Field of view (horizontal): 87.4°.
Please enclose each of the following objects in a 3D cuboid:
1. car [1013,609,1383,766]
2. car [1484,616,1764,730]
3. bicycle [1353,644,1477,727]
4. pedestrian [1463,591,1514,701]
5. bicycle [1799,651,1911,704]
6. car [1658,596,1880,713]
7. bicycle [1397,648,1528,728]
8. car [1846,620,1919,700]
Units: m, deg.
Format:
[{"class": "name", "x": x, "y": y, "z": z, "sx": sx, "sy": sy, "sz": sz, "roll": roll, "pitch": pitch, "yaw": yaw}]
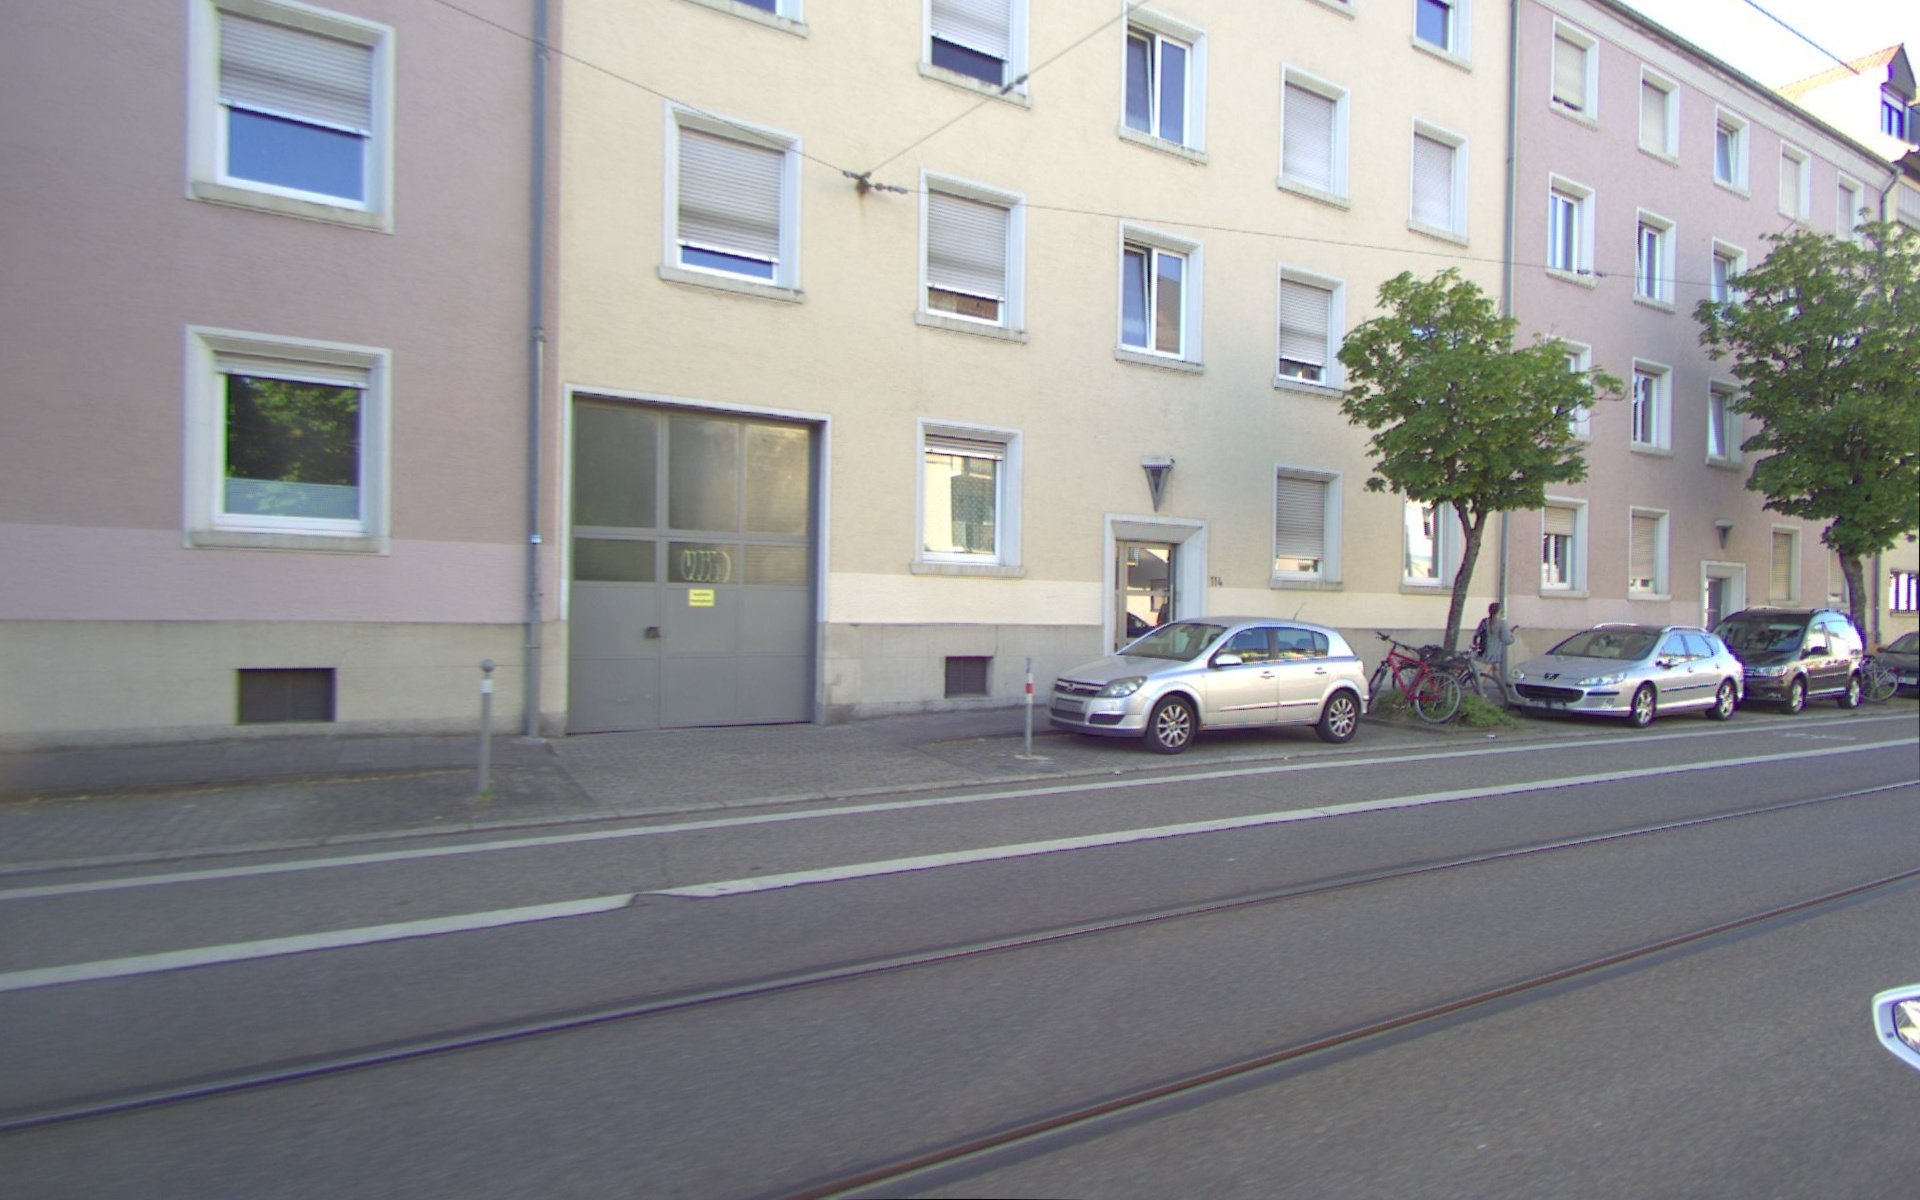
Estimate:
[{"class": "car", "x": 2.857, "y": 0.917, "z": 11.859, "sx": 4.141, "sy": 1.528, "sz": 1.800, "roll": 1, "pitch": 0, "yaw": -30}, {"class": "car", "x": 10.567, "y": 1.067, "z": 15.904, "sx": 4.625, "sy": 1.528, "sz": 1.800, "roll": 1, "pitch": 0, "yaw": -30}, {"class": "bicycle", "x": 6.356, "y": 1.165, "z": 14.107, "sx": 0.470, "sy": 1.015, "sz": 1.661, "roll": 1, "pitch": 0, "yaw": -26}, {"class": "pedestrian", "x": 9.095, "y": 0.771, "z": 17.291, "sx": 0.536, "sy": 1.850, "sz": 0.534, "roll": 1, "pitch": 1, "yaw": -30}, {"class": "bicycle", "x": 18.372, "y": 1.566, "z": 20.651, "sx": 0.511, "sy": 0.950, "sz": 1.622, "roll": 1, "pitch": 0, "yaw": -32}, {"class": "car", "x": 15.239, "y": 0.957, "z": 18.889, "sx": 4.282, "sy": 1.969, "sz": 1.800, "roll": 1, "pitch": 0, "yaw": -30}, {"class": "bicycle", "x": 7.315, "y": 1.262, "z": 14.698, "sx": 0.472, "sy": 1.015, "sz": 1.652, "roll": 1, "pitch": 1, "yaw": -40}, {"class": "car", "x": 21.724, "y": 1.305, "z": 22.357, "sx": 4.016, "sy": 1.641, "sz": 1.800, "roll": 1, "pitch": 0, "yaw": -30}]
